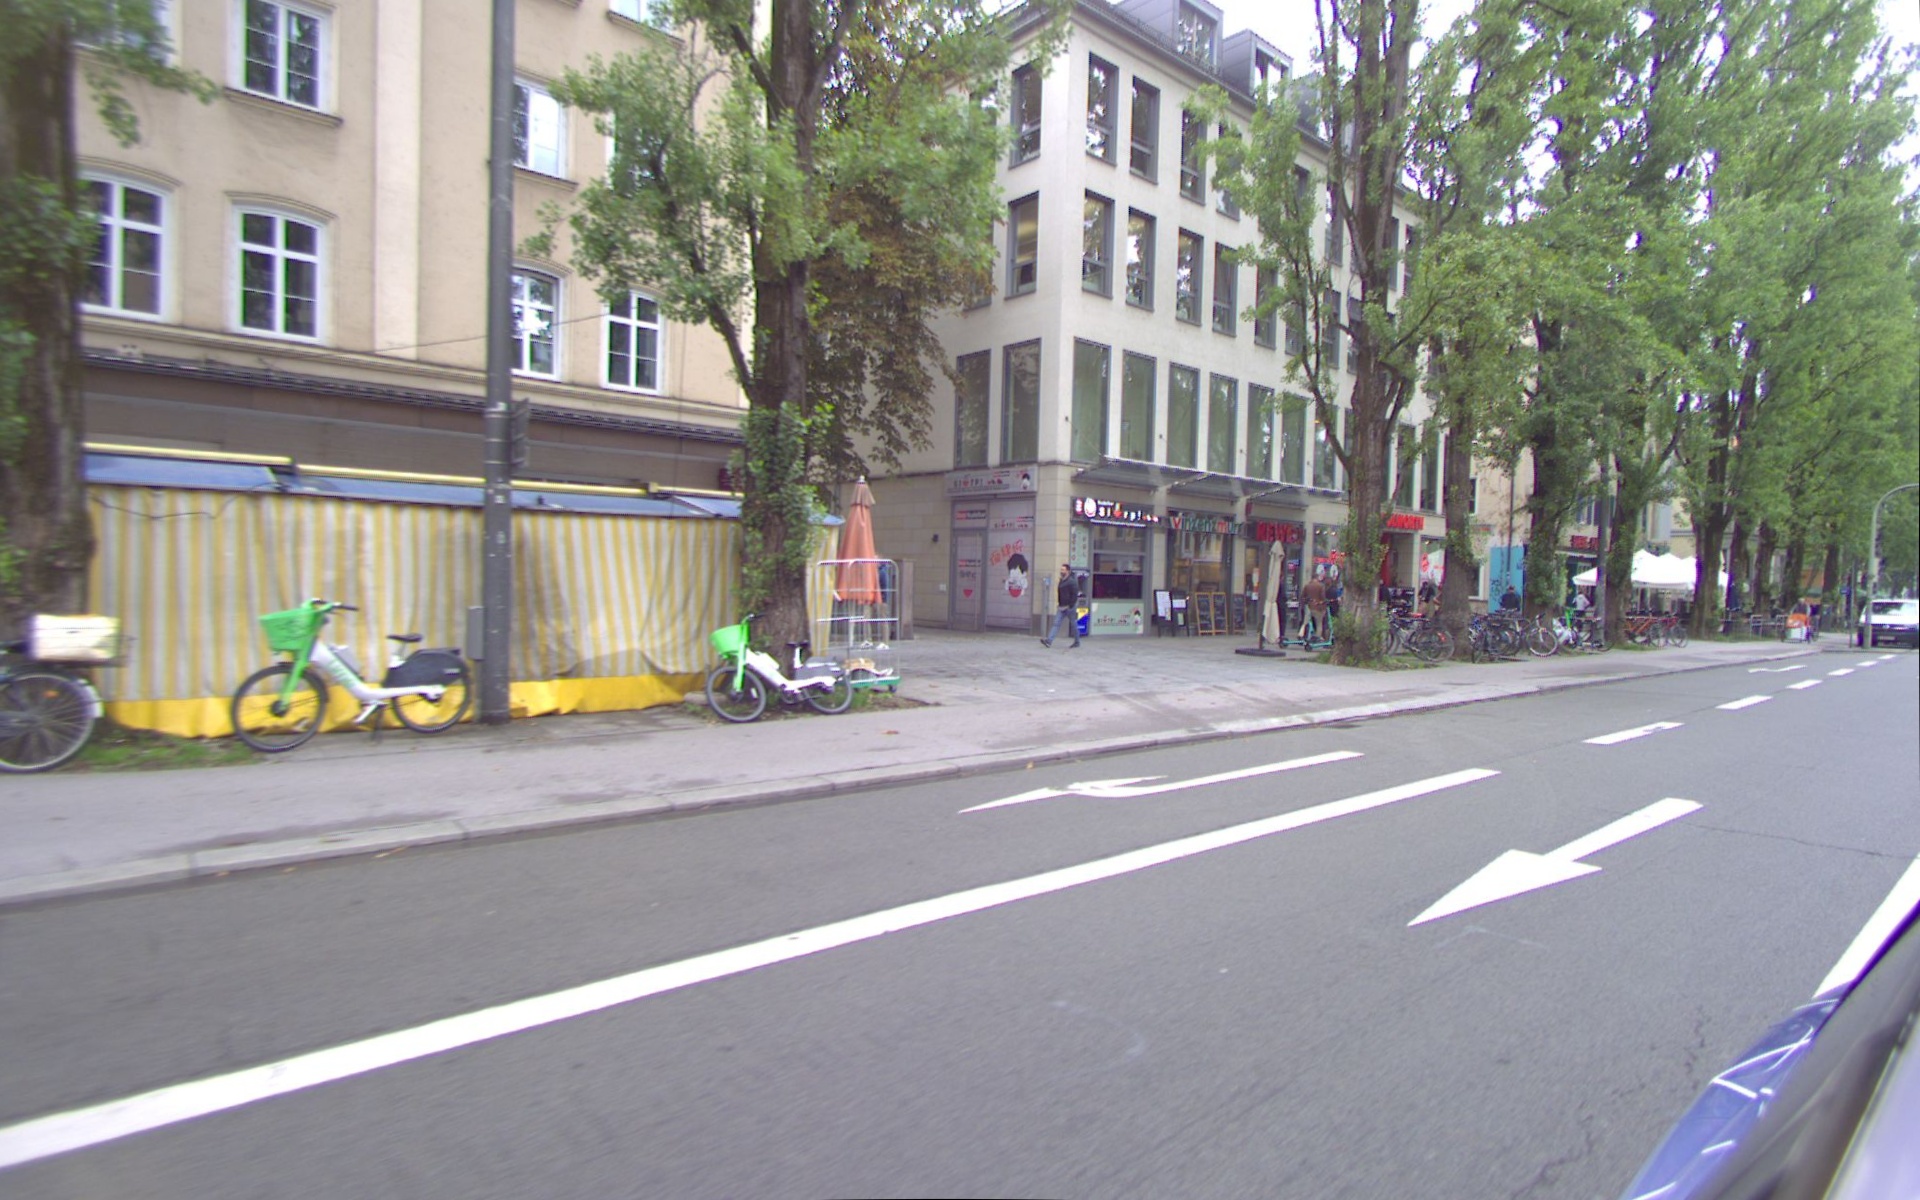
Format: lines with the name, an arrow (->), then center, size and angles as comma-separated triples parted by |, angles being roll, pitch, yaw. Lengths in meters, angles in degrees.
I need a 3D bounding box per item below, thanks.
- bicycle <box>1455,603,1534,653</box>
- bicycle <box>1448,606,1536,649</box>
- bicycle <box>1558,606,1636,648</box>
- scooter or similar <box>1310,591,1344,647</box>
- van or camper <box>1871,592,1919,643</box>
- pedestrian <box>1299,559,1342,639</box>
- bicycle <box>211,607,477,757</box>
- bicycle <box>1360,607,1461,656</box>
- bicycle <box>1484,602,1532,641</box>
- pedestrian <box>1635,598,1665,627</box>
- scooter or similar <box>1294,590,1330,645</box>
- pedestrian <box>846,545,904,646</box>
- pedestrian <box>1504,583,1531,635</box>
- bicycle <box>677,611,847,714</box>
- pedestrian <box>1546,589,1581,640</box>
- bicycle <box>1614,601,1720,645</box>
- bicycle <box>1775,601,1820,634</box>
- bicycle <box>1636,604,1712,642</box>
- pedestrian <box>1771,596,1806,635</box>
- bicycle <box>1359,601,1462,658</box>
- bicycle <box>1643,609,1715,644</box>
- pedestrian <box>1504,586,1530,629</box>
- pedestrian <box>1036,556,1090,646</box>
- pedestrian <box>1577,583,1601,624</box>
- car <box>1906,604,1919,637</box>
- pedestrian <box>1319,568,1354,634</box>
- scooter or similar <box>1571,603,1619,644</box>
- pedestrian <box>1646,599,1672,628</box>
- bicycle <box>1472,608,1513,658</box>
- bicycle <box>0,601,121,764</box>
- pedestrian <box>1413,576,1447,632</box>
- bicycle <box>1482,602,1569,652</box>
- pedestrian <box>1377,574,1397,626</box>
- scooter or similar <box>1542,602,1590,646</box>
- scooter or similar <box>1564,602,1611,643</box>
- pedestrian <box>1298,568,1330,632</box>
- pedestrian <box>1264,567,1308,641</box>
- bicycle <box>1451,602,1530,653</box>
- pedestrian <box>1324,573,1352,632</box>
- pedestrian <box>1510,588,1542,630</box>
bicycle -> 13.303, 0.684, 25.211 | 1.657, 1.120, 0.391 | 3, 2, 39
bicycle -> 13.950, 0.708, 26.602 | 1.997, 0.999, 0.387 | 3, 2, 42
bicycle -> 18.116, 0.747, 28.806 | 0.385, 1.021, 1.848 | 1, 3, -31
scooter or similar -> 8.675, 0.453, 23.922 | 1.018, 1.289, 0.248 | 1, 1, -41
van or camper -> 38.197, 0.680, 40.645 | 4.485, 1.929, 1.795 | 1, 1, -41
pedestrian -> 9.171, -0.036, 25.730 | 0.709, 1.995, 0.658 | 2, 1, -38
bicycle -> -4.868, 0.596, 8.079 | 1.740, 1.061, 0.509 | 0, 1, -43
bicycle -> 9.916, 0.672, 22.310 | 1.992, 0.957, 0.282 | 2, 1, 34
bicycle -> 15.749, 0.618, 29.062 | 1.968, 1.076, 0.393 | 1, 3, -38
pedestrian -> 30.272, 0.567, 44.417 | 1.004, 1.231, 0.775 | 1, 1, -38
scooter or similar -> 8.436, 0.415, 24.234 | 1.018, 1.289, 0.331 | 1, 1, -41
pedestrian -> -1.581, -0.092, 18.776 | 0.742, 1.837, 0.745 | 1, 1, -37
pedestrian -> 19.126, 0.297, 34.730 | 0.684, 1.764, 0.566 | 1, 1, -38
bicycle -> -2.064, 0.624, 10.730 | 1.740, 0.987, 0.509 | 1, 1, -43
pedestrian -> 19.801, 0.479, 33.211 | 0.780, 1.608, 0.711 | 1, 3, -43
bicycle -> 22.443, 0.705, 32.172 | 0.948, 1.230, 2.577 | 1, 2, -40
bicycle -> 37.887, 0.775, 45.828 | 0.819, 1.429, 2.580 | 2, 1, 23
bicycle -> 23.274, 0.725, 33.028 | 0.674, 1.141, 1.902 | 1, 2, -40
pedestrian -> 39.558, 0.732, 48.341 | 0.819, 1.788, 0.945 | 1, 0, -3
bicycle -> 9.757, 0.620, 21.974 | 1.991, 1.096, 0.282 | 3, 2, 34
bicycle -> 23.860, 0.859, 33.602 | 0.494, 1.022, 1.843 | 1, 2, -40
pedestrian -> 20.225, 0.277, 36.734 | 0.684, 1.539, 0.566 | 1, 1, -38
pedestrian -> 2.202, 0.005, 21.538 | 0.805, 1.837, 0.971 | 2, 1, 27
pedestrian -> 26.446, 0.156, 42.562 | 0.680, 1.684, 0.667 | 1, 1, -42
car -> 42.744, 0.928, 44.351 | 3.421, 1.414, 1.475 | 1, 2, -41
pedestrian -> 10.570, 0.021, 28.410 | 0.662, 1.807, 0.658 | 1, 1, -40
scooter or similar -> 18.886, 0.697, 30.118 | 1.221, 1.184, 0.286 | 1, 0, 1
pedestrian -> 31.151, 0.591, 45.108 | 1.004, 1.231, 0.668 | 1, 1, -38
bicycle -> 12.133, 0.731, 23.043 | 0.433, 1.074, 1.977 | 3, 2, 38
bicycle -> -6.843, 0.560, 6.809 | 1.774, 1.084, 0.406 | 0, -4, -25
pedestrian -> 15.924, 0.127, 34.291 | 0.806, 1.877, 0.753 | 1, 1, -39
bicycle -> 14.353, 0.664, 25.704 | 1.864, 1.149, 0.335 | 3, 2, 42
pedestrian -> 15.116, -0.003, 35.800 | 0.589, 1.789, 0.636 | 2, 0, 26
scooter or similar -> 17.065, 0.667, 28.539 | 0.395, 1.184, 1.247 | 1, 2, -12
scooter or similar -> 18.921, 0.675, 30.525 | 1.220, 1.184, 0.307 | 1, 0, -2
pedestrian -> 10.212, -0.004, 29.212 | 0.662, 1.807, 0.566 | 1, 1, -40
pedestrian -> 8.412, 0.100, 26.121 | 0.889, 1.873, 0.658 | 1, 1, -39
bicycle -> 13.045, 0.665, 24.902 | 1.669, 1.131, 0.282 | 3, 2, 38
pedestrian -> 11.770, 0.072, 31.505 | 0.630, 1.789, 0.547 | 1, 1, -42
pedestrian -> 22.553, 0.344, 40.313 | 0.998, 1.624, 0.764 | 1, 1, -40
